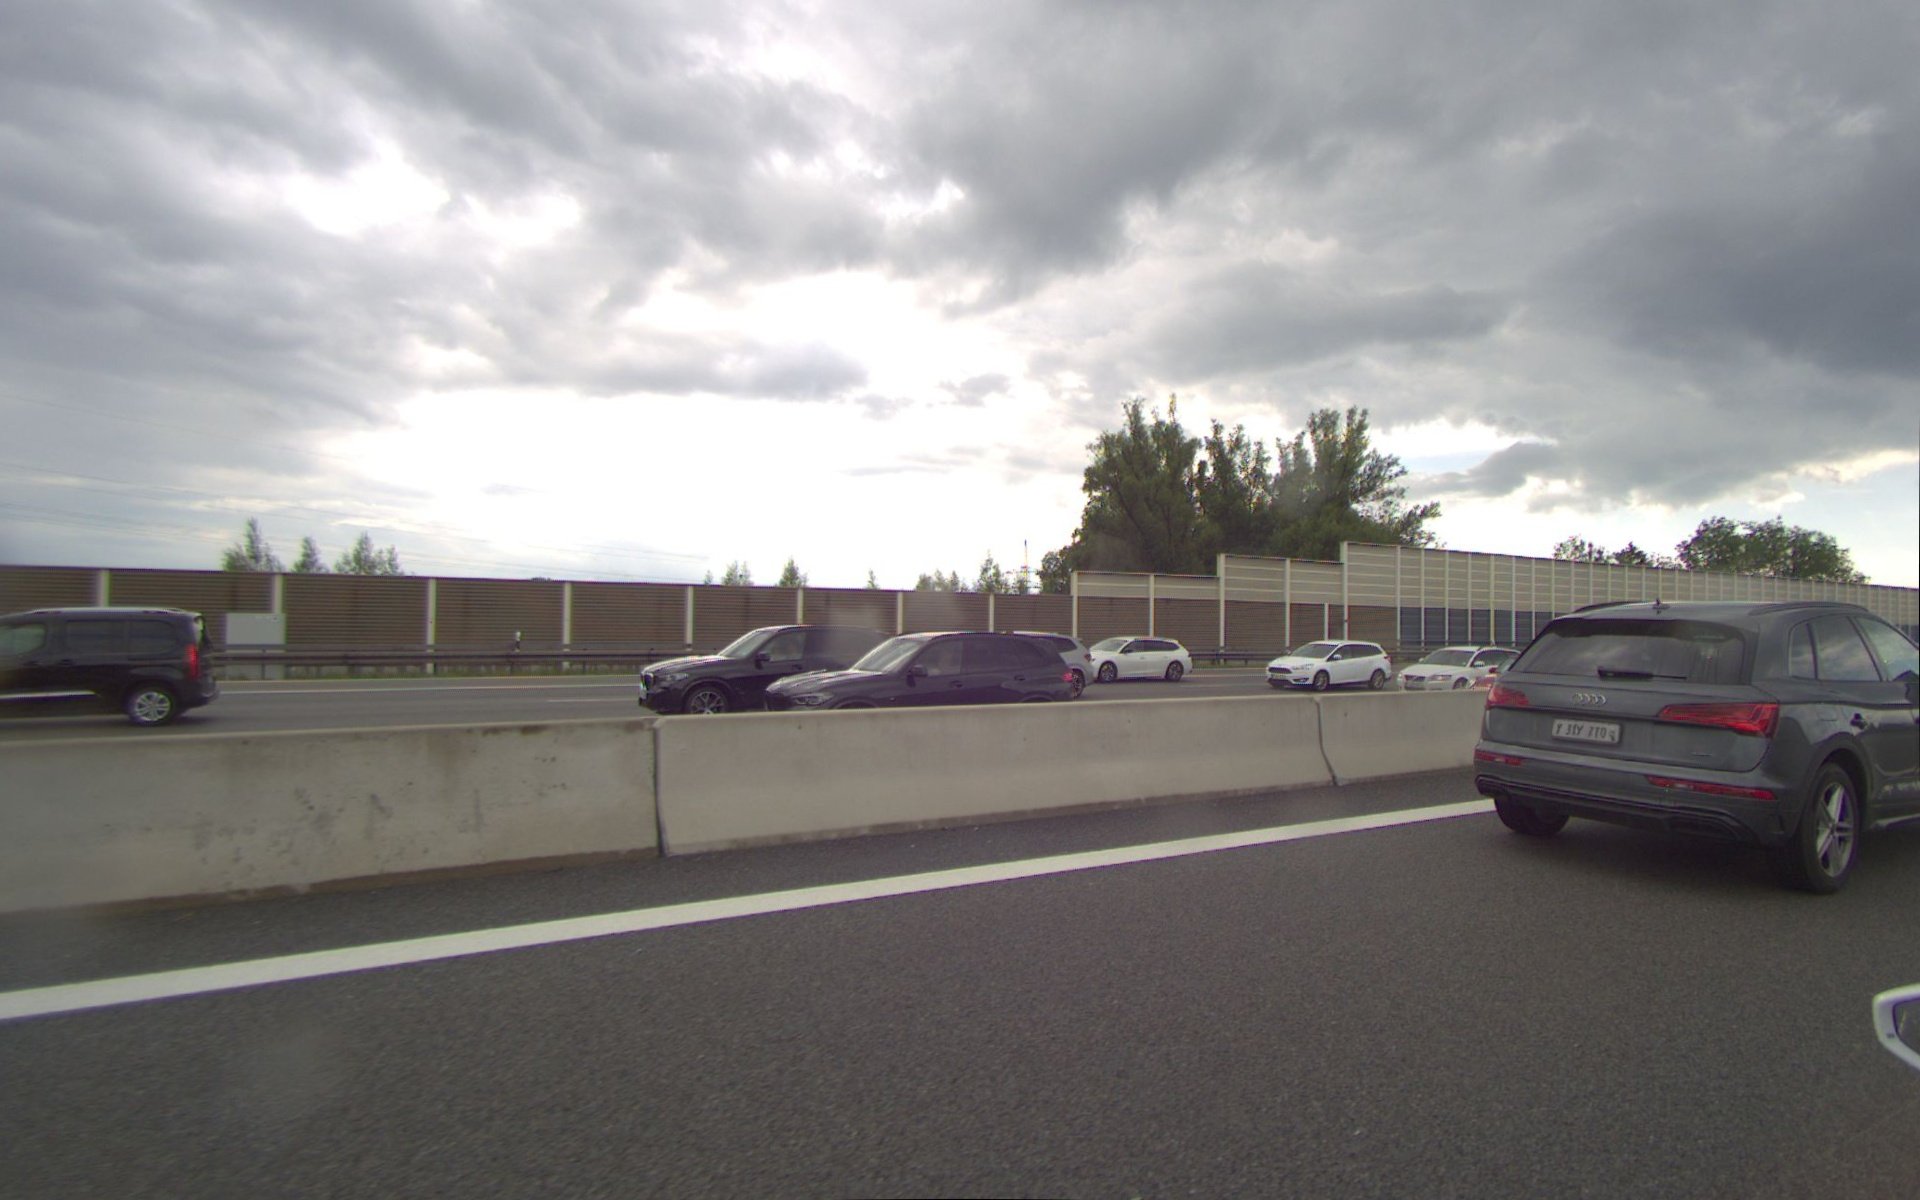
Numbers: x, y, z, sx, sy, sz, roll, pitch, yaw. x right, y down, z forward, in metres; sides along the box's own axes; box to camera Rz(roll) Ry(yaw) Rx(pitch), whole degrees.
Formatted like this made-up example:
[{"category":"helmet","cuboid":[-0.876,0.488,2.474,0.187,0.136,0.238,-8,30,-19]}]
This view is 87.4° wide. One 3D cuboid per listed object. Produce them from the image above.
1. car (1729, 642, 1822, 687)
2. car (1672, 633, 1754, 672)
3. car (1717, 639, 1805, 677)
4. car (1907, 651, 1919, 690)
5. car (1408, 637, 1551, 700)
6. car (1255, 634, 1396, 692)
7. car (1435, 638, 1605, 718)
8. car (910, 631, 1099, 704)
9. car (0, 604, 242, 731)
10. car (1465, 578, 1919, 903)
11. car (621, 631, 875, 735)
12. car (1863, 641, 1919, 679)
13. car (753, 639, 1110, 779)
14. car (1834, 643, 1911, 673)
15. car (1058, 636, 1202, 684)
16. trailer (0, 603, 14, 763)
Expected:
[{"category":"car","cuboid":[31.462,2.457,38.736,3.575,1.601,1.613,1,-1,-29]},{"category":"car","cuboid":[38.657,2.655,51.539,4.727,1.918,1.739,1,-1,-31]},{"category":"car","cuboid":[36.752,2.614,46.071,4.127,1.632,1.740,1,-1,-29]},{"category":"car","cuboid":[36.727,2.618,37.129,3.532,1.412,1.565,1,-1,-29]},{"category":"car","cuboid":[14.892,1.898,28.744,4.117,1.652,1.739,1,-1,-31]},{"category":"car","cuboid":[11.208,1.884,30.737,4.342,1.652,1.739,1,-1,-31]},{"category":"car","cuboid":[12.713,1.701,22.782,3.703,1.652,1.740,1,-1,-30]},{"category":"car","cuboid":[1.152,1.617,25.028,4.473,1.652,1.813,1,-1,-31]},{"category":"car","cuboid":[-14.039,1.026,15.953,4.118,1.872,1.739,1,-1,-31]},{"category":"car","cuboid":[6.168,0.791,7.411,5.107,1.713,1.899,1,-1,-30]},{"category":"car","cuboid":[-3.740,1.391,17.883,4.114,1.652,1.740,1,-1,-28]},{"category":"car","cuboid":[43.628,2.736,46.201,4.127,1.632,1.926,1,-1,-29]},{"category":"car","cuboid":[-0.360,1.484,15.022,5.046,1.767,1.873,1,-1,-28]},{"category":"car","cuboid":[47.588,3.002,52.363,4.662,1.449,1.738,1,-1,-31]},{"category":"car","cuboid":[5.538,1.887,32.497,4.522,1.419,1.854,1,-1,-32]},{"category":"trailer","cuboid":[-12.595,0.816,8.718,5.974,1.731,2.134,2,-1,-30]}]
